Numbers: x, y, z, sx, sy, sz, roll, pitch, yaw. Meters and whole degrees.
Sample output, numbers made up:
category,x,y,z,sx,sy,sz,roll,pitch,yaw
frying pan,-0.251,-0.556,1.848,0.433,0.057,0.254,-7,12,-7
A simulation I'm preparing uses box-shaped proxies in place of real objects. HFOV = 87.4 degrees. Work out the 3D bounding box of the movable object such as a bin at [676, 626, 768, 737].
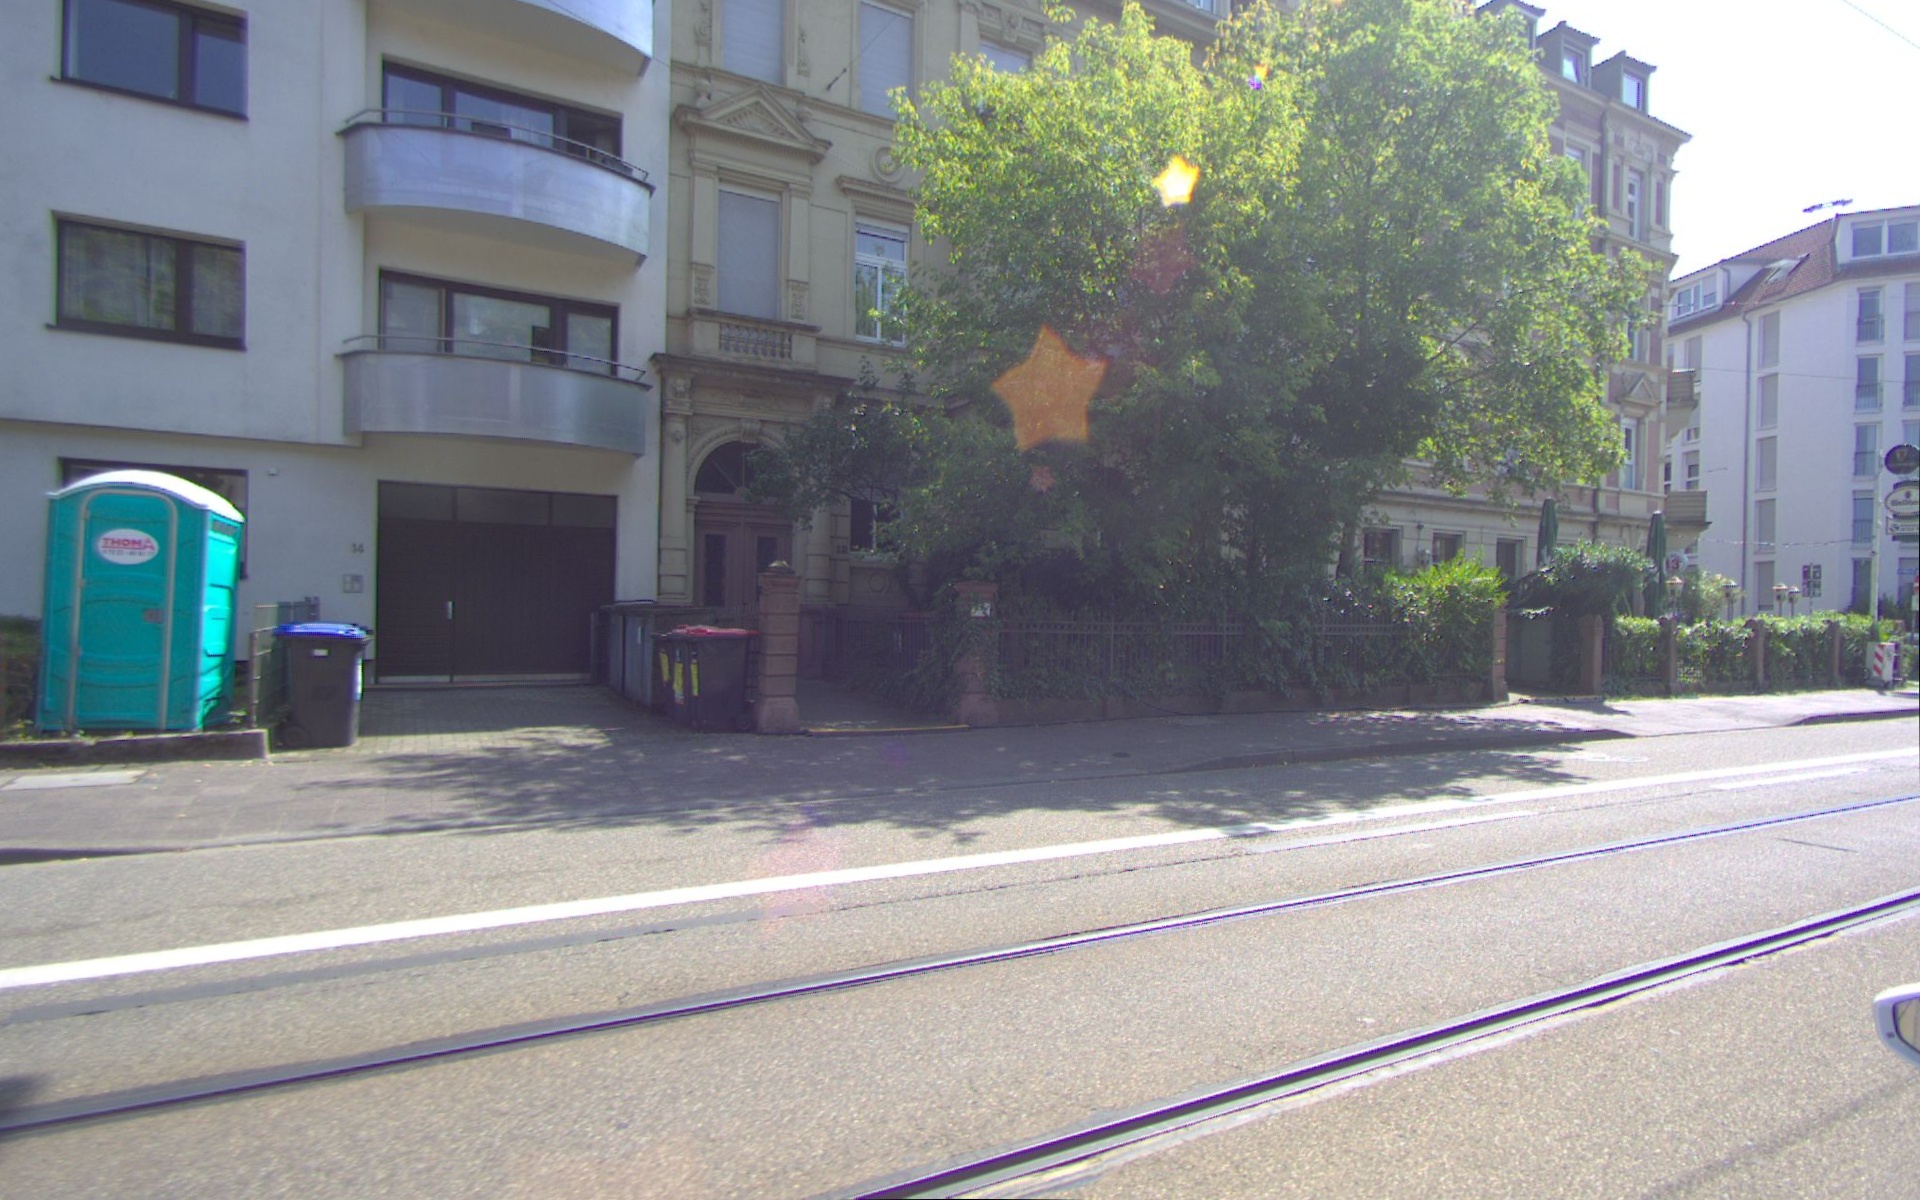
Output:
category,x,y,z,sx,sy,sz,roll,pitch,yaw
movable object such as a bin,-2.550,0.847,10.722,0.792,1.090,0.784,1,1,-26

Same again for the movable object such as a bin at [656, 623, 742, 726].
category,x,y,z,sx,sy,sz,roll,pitch,yaw
movable object such as a bin,-2.979,0.828,11.436,0.792,1.090,0.784,1,1,-26

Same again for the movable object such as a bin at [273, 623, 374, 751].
category,x,y,z,sx,sy,sz,roll,pitch,yaw
movable object such as a bin,-5.901,0.776,9.352,0.746,1.090,0.782,1,1,-30

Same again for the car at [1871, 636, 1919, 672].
category,x,y,z,sx,sy,sz,roll,pitch,yaw
car,33.716,1.854,33.828,1.963,1.200,4.239,1,-2,-8
